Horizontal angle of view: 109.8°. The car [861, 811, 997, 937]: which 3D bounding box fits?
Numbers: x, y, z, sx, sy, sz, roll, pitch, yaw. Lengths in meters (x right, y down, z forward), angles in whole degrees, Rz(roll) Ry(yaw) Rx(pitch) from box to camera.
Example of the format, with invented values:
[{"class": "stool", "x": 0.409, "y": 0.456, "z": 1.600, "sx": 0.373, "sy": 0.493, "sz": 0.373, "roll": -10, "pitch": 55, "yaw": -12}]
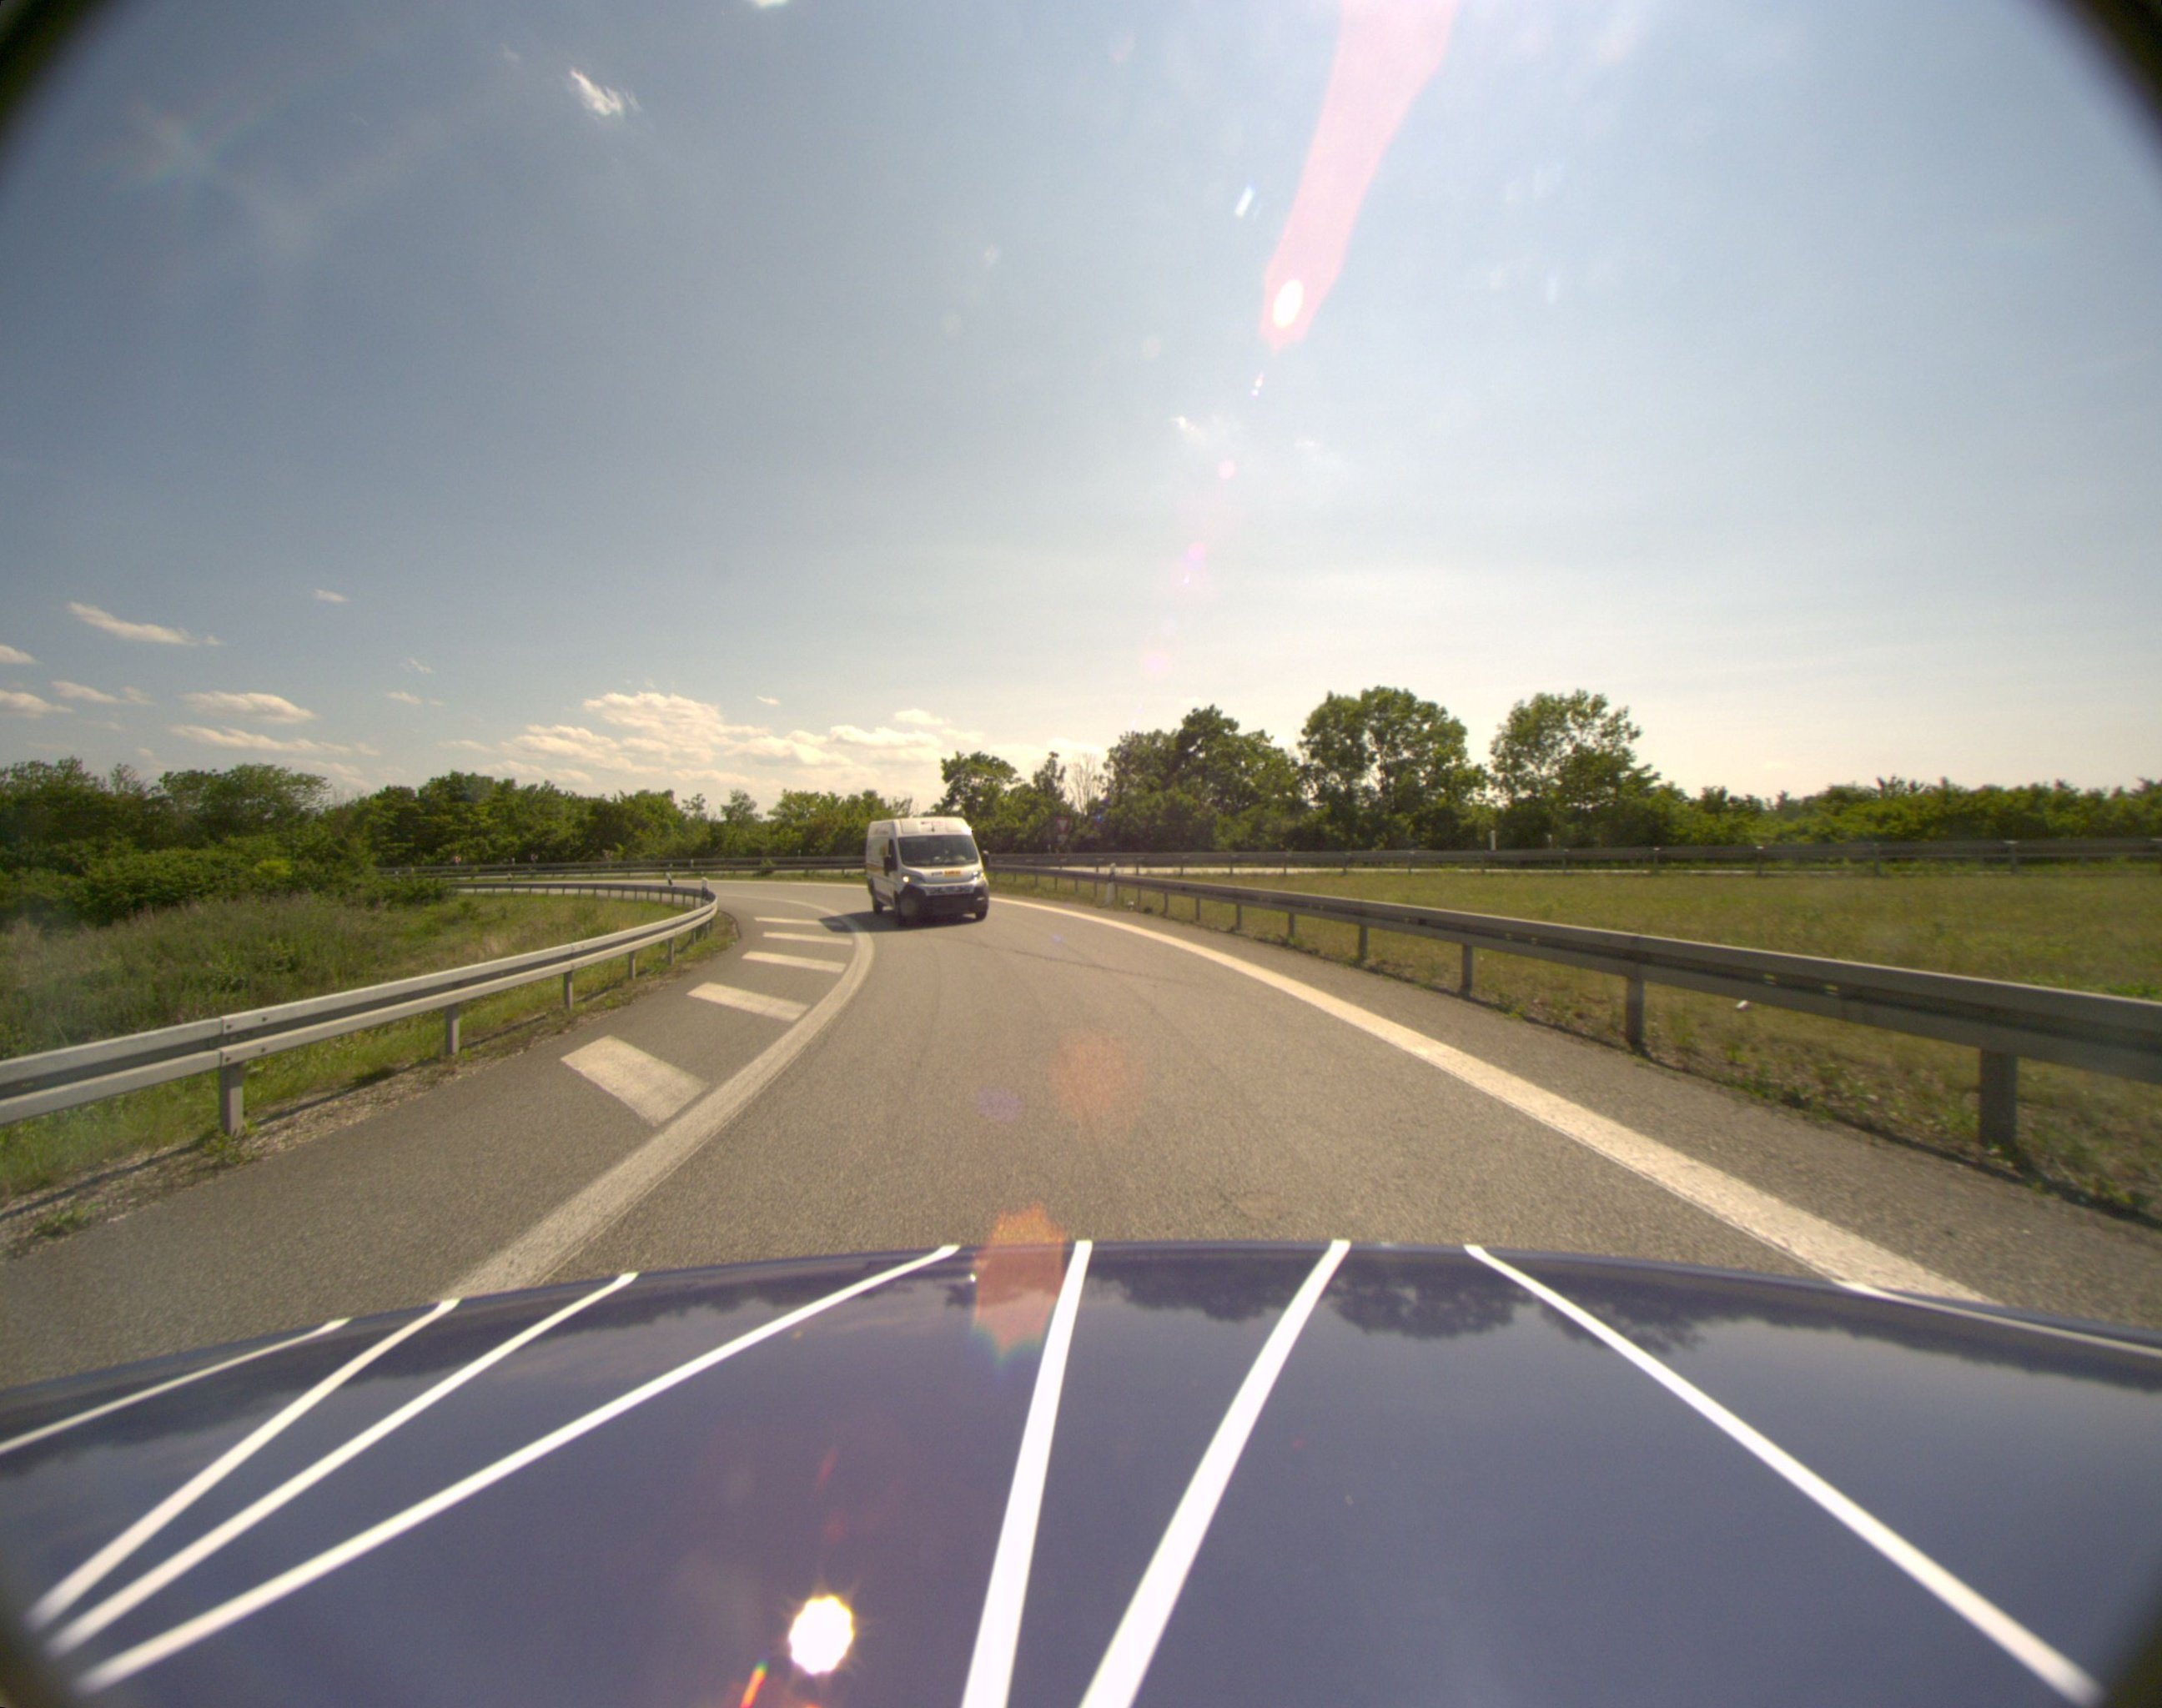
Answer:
[{"class": "car", "x": -4.063, "y": 0.350, "z": 19.253, "sx": 2.090, "sy": 2.510, "sz": 6.224, "roll": -6, "pitch": 3, "yaw": -21}]
